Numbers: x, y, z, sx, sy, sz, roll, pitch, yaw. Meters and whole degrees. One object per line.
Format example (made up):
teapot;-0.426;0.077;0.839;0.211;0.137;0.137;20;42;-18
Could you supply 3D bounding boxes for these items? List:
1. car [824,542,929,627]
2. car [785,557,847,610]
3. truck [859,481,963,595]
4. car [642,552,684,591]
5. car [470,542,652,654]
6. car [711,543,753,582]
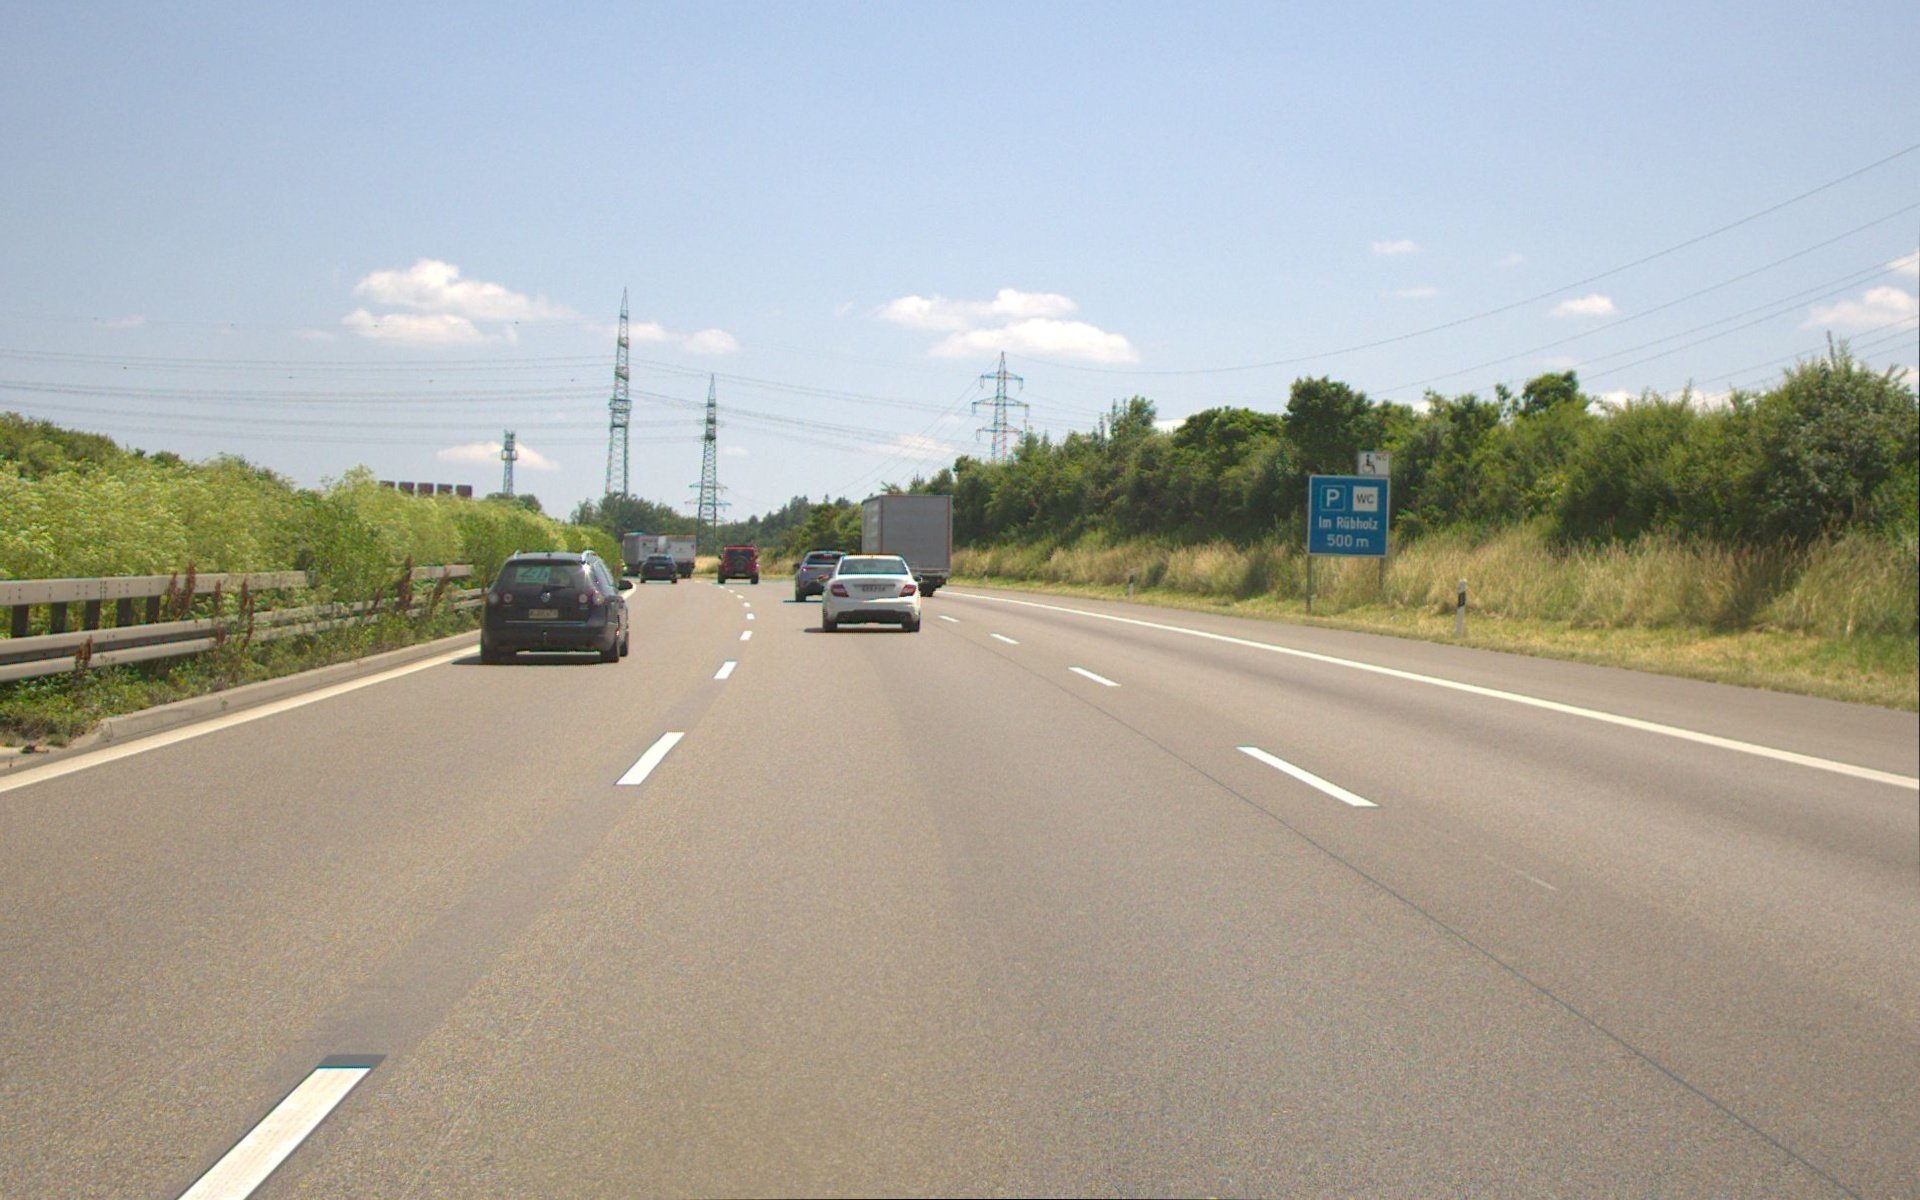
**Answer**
car;-1.595;-0.312;64.279;1.819;1.535;3.915;0;1;-3
car;-4.321;-0.504;103.504;1.838;1.535;3.915;0;1;-2
truck;-1.816;-2.163;122.688;3.220;3.911;9.062;1;0;-4
car;-14.641;-1.415;169.606;1.993;1.853;4.001;0;1;-4
car;-5.261;-0.059;45.777;1.756;1.424;4.000;0;1;3
car;-11.354;-1.861;171.104;1.901;1.919;4.001;0;1;-6
